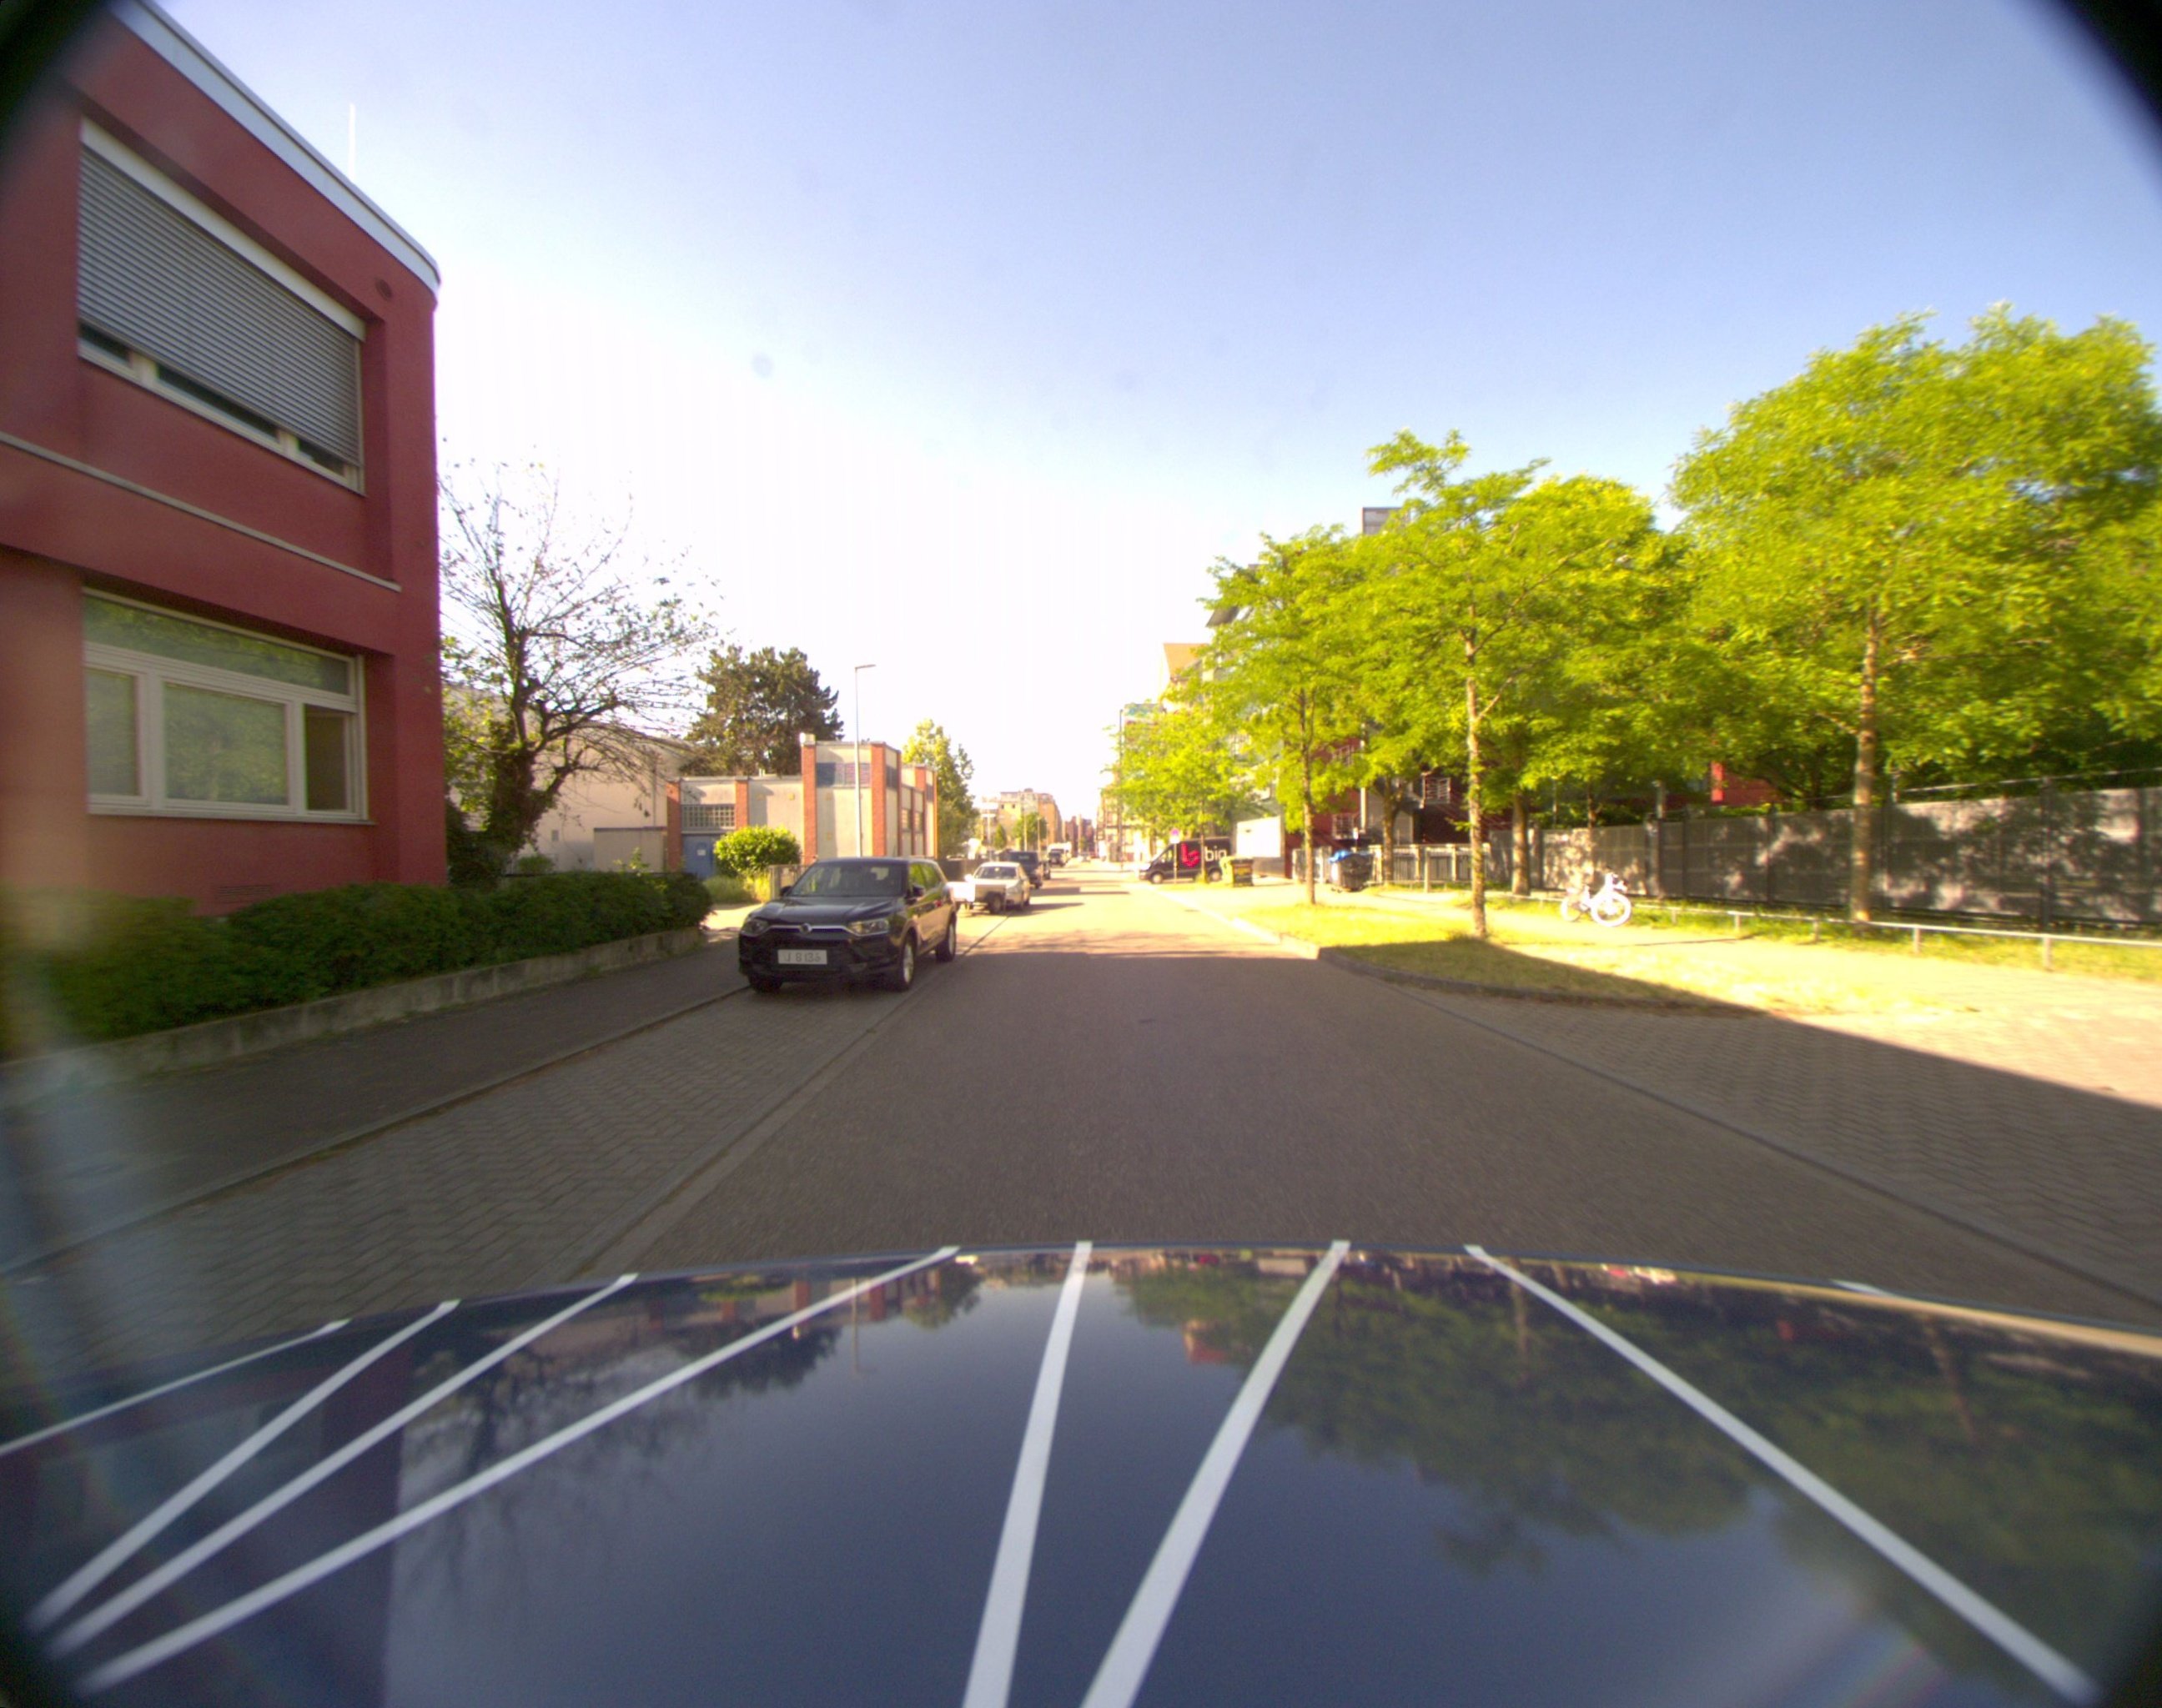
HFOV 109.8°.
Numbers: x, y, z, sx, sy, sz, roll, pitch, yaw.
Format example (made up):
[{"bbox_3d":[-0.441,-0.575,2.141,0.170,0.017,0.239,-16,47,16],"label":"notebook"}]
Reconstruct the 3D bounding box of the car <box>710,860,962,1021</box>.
[{"bbox_3d":[-2.900,0.924,10.141,1.878,1.620,4.406,0,0,1],"label":"car"}]

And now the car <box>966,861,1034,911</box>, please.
[{"bbox_3d":[-2.528,0.965,24.528,1.699,1.448,3.889,0,0,1],"label":"car"}]

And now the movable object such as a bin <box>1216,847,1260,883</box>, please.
[{"bbox_3d":[7.145,0.485,34.587,1.524,1.559,1.345,-2,1,-9],"label":"movable object such as a bin"}]

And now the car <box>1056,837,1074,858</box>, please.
[{"bbox_3d":[-2.961,-1.204,142.077,2.913,3.920,6.325,0,1,2],"label":"car"}]

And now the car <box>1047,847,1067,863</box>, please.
[{"bbox_3d":[-2.557,0.089,82.185,1.903,1.585,4.372,0,0,1],"label":"car"}]

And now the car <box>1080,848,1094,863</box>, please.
[{"bbox_3d":[0.861,0.180,105.311,1.903,1.974,4.372,0,0,1],"label":"car"}]

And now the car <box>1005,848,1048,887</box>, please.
[{"bbox_3d":[-2.862,0.654,40.631,1.903,1.974,4.372,0,0,1],"label":"car"}]

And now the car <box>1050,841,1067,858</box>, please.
[{"bbox_3d":[-2.681,-0.588,91.288,1.903,1.974,4.372,0,0,1],"label":"car"}]

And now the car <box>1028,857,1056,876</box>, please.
[{"bbox_3d":[-2.867,0.919,56.033,1.777,1.281,4.095,0,0,1],"label":"car"}]

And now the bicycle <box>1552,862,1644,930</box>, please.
[{"bbox_3d":[9.985,0.776,14.748,0.602,1.185,1.727,-2,1,1],"label":"bicycle"}]

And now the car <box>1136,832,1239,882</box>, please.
[{"bbox_3d":[6.058,0.140,43.698,5.489,2.527,1.986,-3,1,-1],"label":"car"}]

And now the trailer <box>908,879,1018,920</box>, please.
[{"bbox_3d":[-3.197,1.210,21.068,1.563,0.922,2.986,0,0,27],"label":"trailer"}]

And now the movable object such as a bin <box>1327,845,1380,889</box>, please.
[{"bbox_3d":[10.148,0.478,28.382,1.522,1.559,1.347,-2,1,5],"label":"movable object such as a bin"}]
